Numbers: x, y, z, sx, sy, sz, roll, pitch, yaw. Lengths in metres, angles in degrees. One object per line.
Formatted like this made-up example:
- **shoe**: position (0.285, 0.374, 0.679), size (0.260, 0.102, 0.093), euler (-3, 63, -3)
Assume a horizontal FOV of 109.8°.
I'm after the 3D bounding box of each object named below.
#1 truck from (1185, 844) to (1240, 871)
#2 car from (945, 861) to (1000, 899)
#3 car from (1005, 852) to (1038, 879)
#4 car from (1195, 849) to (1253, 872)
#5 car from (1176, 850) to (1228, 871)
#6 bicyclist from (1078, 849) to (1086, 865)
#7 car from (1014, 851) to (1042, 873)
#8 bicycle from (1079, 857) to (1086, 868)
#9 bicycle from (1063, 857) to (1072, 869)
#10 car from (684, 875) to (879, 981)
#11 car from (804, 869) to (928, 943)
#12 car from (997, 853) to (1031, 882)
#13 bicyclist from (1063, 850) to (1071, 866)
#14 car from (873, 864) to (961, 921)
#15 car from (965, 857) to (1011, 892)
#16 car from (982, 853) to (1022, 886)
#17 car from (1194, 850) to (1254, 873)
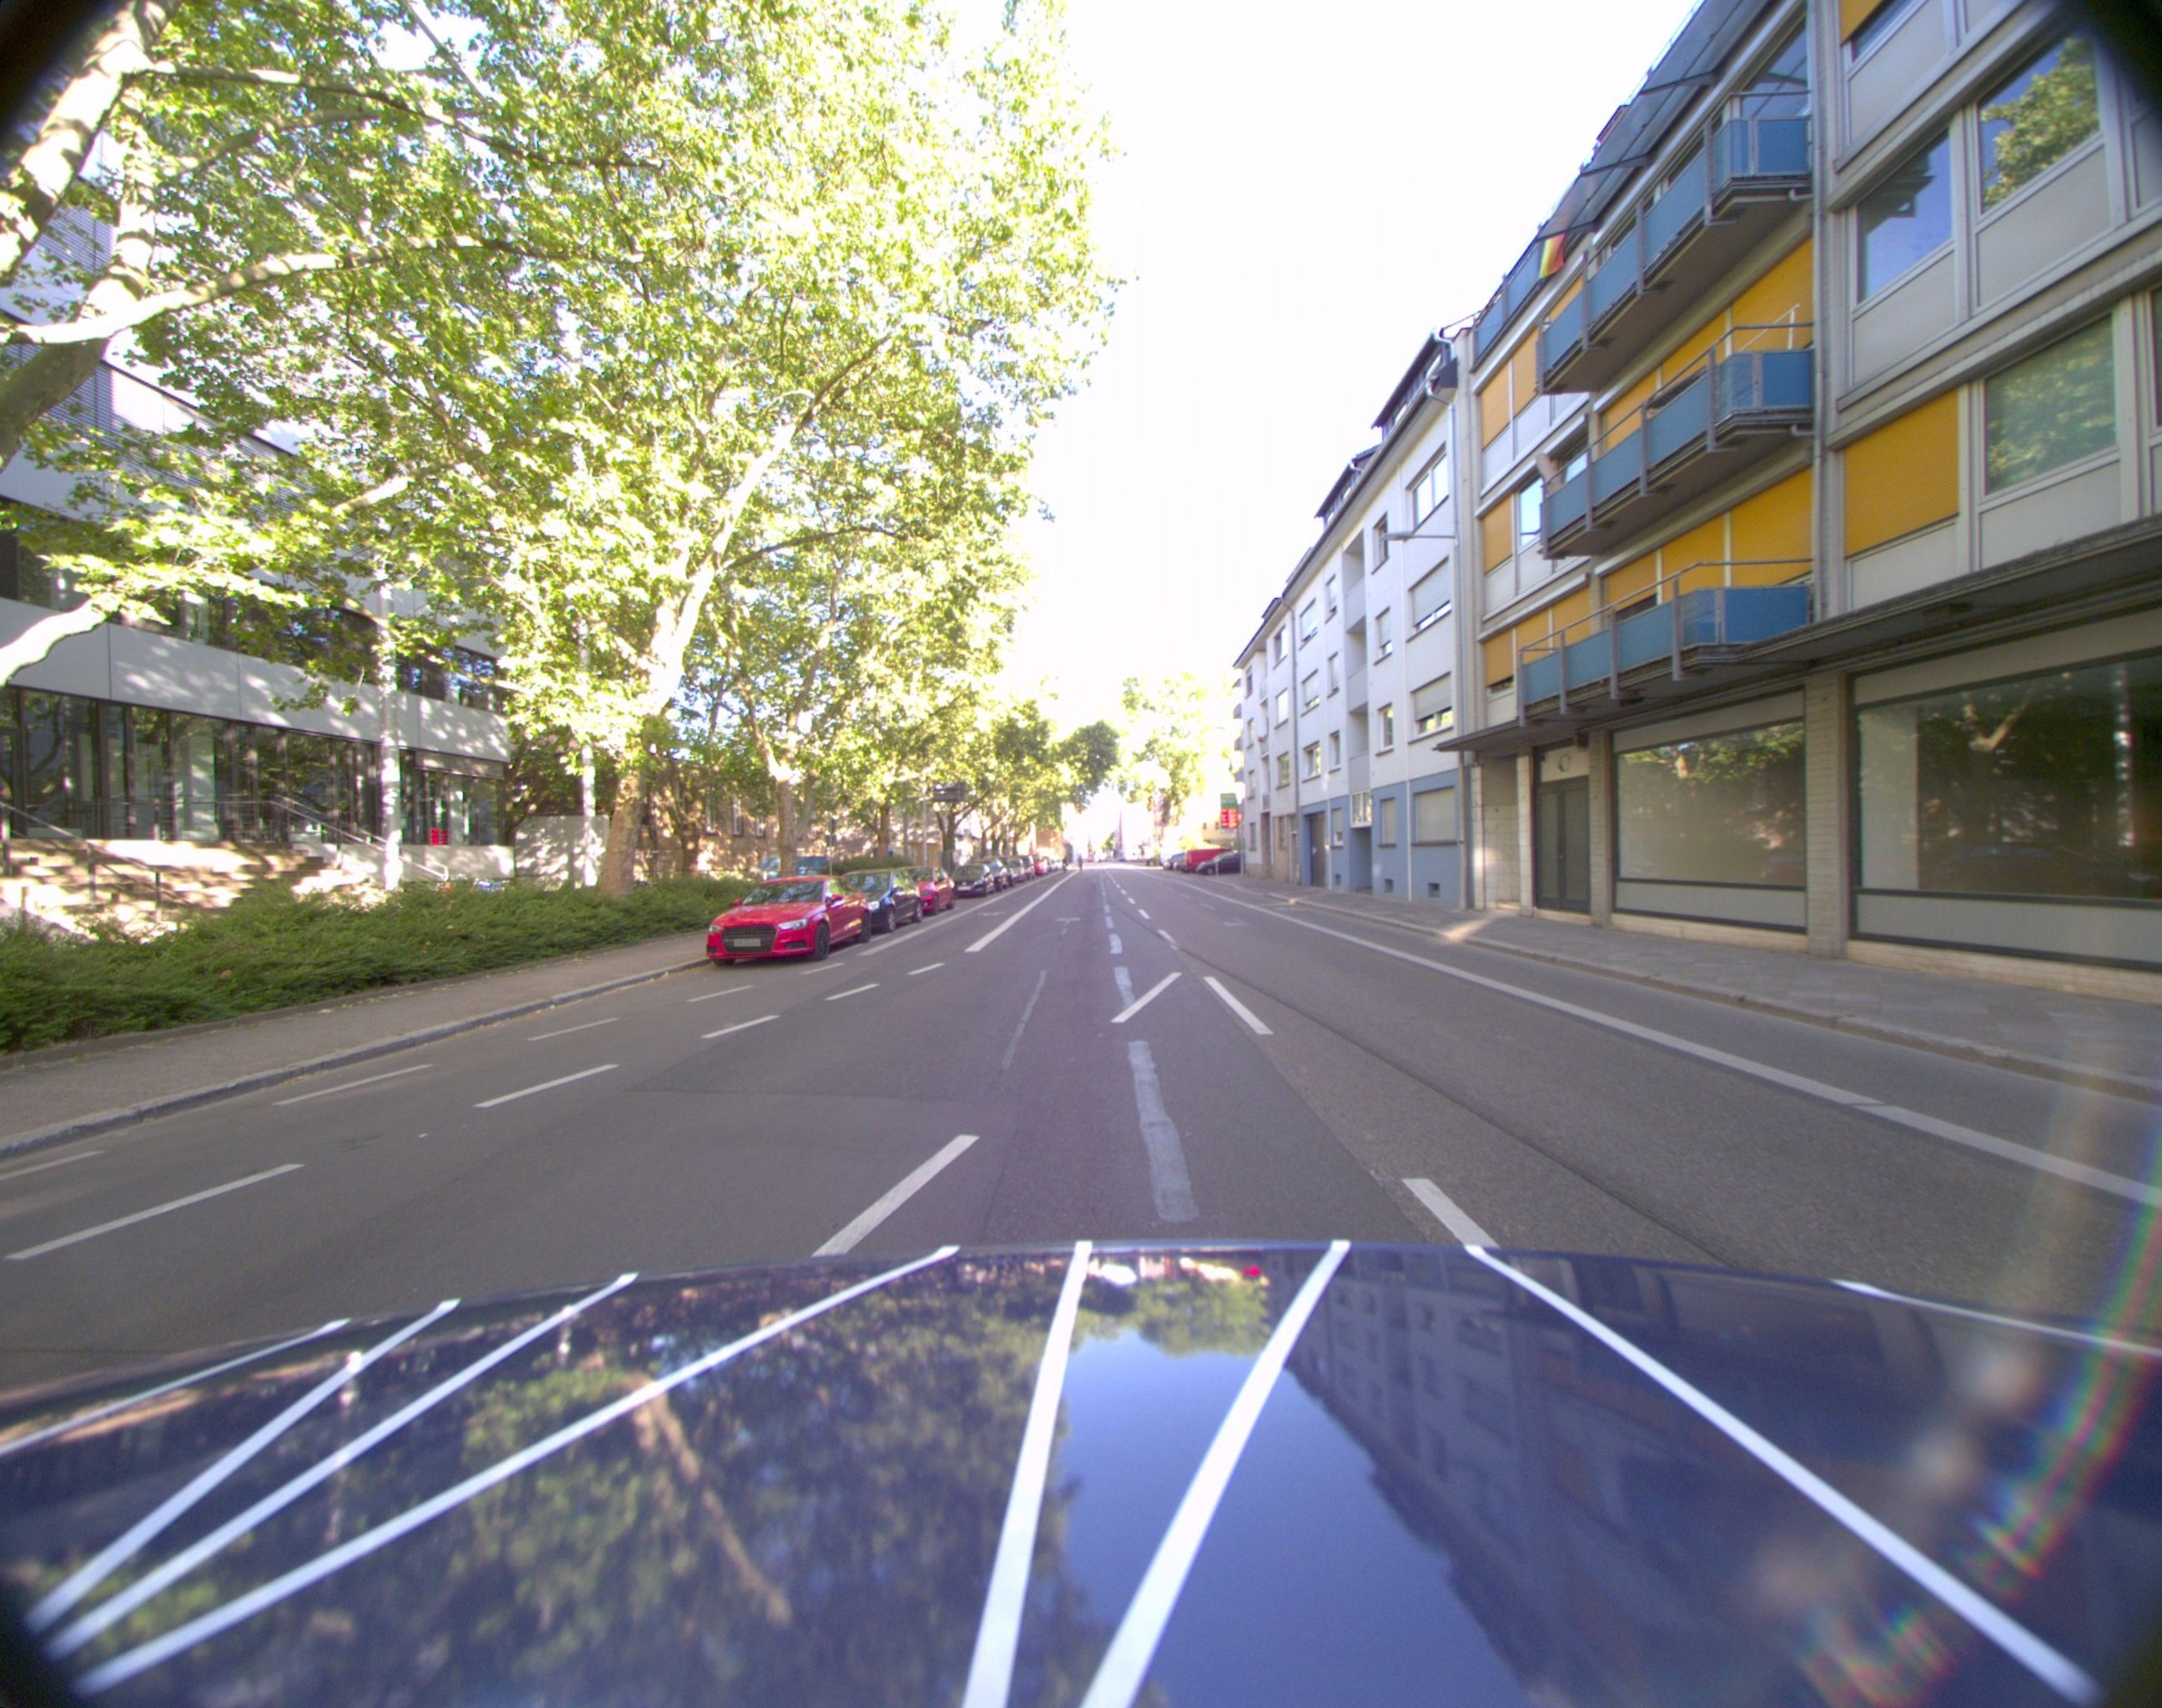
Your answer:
- **truck**: position (10.366, 0.253, 59.992), size (3.996, 1.925, 1.761), euler (-2, 1, 2)
- **car**: position (-4.704, 1.081, 33.386), size (1.790, 1.451, 4.163), euler (-3, 0, 0)
- **car**: position (-4.319, 0.801, 55.662), size (2.042, 1.745, 4.552), euler (-3, 0, 0)
- **car**: position (10.726, 0.487, 57.142), size (3.996, 1.494, 1.761), euler (-2, 1, 2)
- **car**: position (9.976, 0.534, 62.845), size (3.996, 1.494, 1.761), euler (-2, 1, 2)
- **bicyclist**: position (0.128, 0.339, 76.599), size (0.718, 1.573, 0.936), euler (-2, 1, 1)
- **car**: position (-4.594, 0.705, 66.093), size (2.042, 1.745, 4.552), euler (-3, 0, 0)
- **bicycle**: position (0.150, 0.832, 76.581), size (0.717, 1.052, 2.485), euler (-2, 1, 1)
- **bicycle**: position (-1.335, 0.898, 75.717), size (0.717, 1.052, 2.485), euler (-2, 1, 1)
- **car**: position (-5.140, 1.194, 13.720), size (1.818, 1.405, 4.163), euler (-3, 0, 0)
- **car**: position (-5.084, 1.172, 18.576), size (1.818, 1.405, 4.163), euler (-3, 0, 0)
- **car**: position (-4.429, 0.856, 50.704), size (1.790, 1.745, 4.552), euler (-3, 0, 0)
- **bicyclist**: position (-1.353, 0.406, 75.667), size (0.718, 1.573, 0.936), euler (-2, 1, 1)
- **car**: position (-5.032, 1.126, 23.859), size (1.818, 1.475, 4.163), euler (-3, 0, 0)
- **car**: position (-4.603, 0.982, 38.132), size (1.790, 1.544, 4.163), euler (-3, 0, 0)
- **car**: position (-4.526, 0.873, 44.148), size (1.790, 1.745, 4.345), euler (-3, 0, 0)
- **car**: position (10.252, 0.554, 54.795), size (3.996, 1.449, 1.761), euler (-2, 1, 2)
